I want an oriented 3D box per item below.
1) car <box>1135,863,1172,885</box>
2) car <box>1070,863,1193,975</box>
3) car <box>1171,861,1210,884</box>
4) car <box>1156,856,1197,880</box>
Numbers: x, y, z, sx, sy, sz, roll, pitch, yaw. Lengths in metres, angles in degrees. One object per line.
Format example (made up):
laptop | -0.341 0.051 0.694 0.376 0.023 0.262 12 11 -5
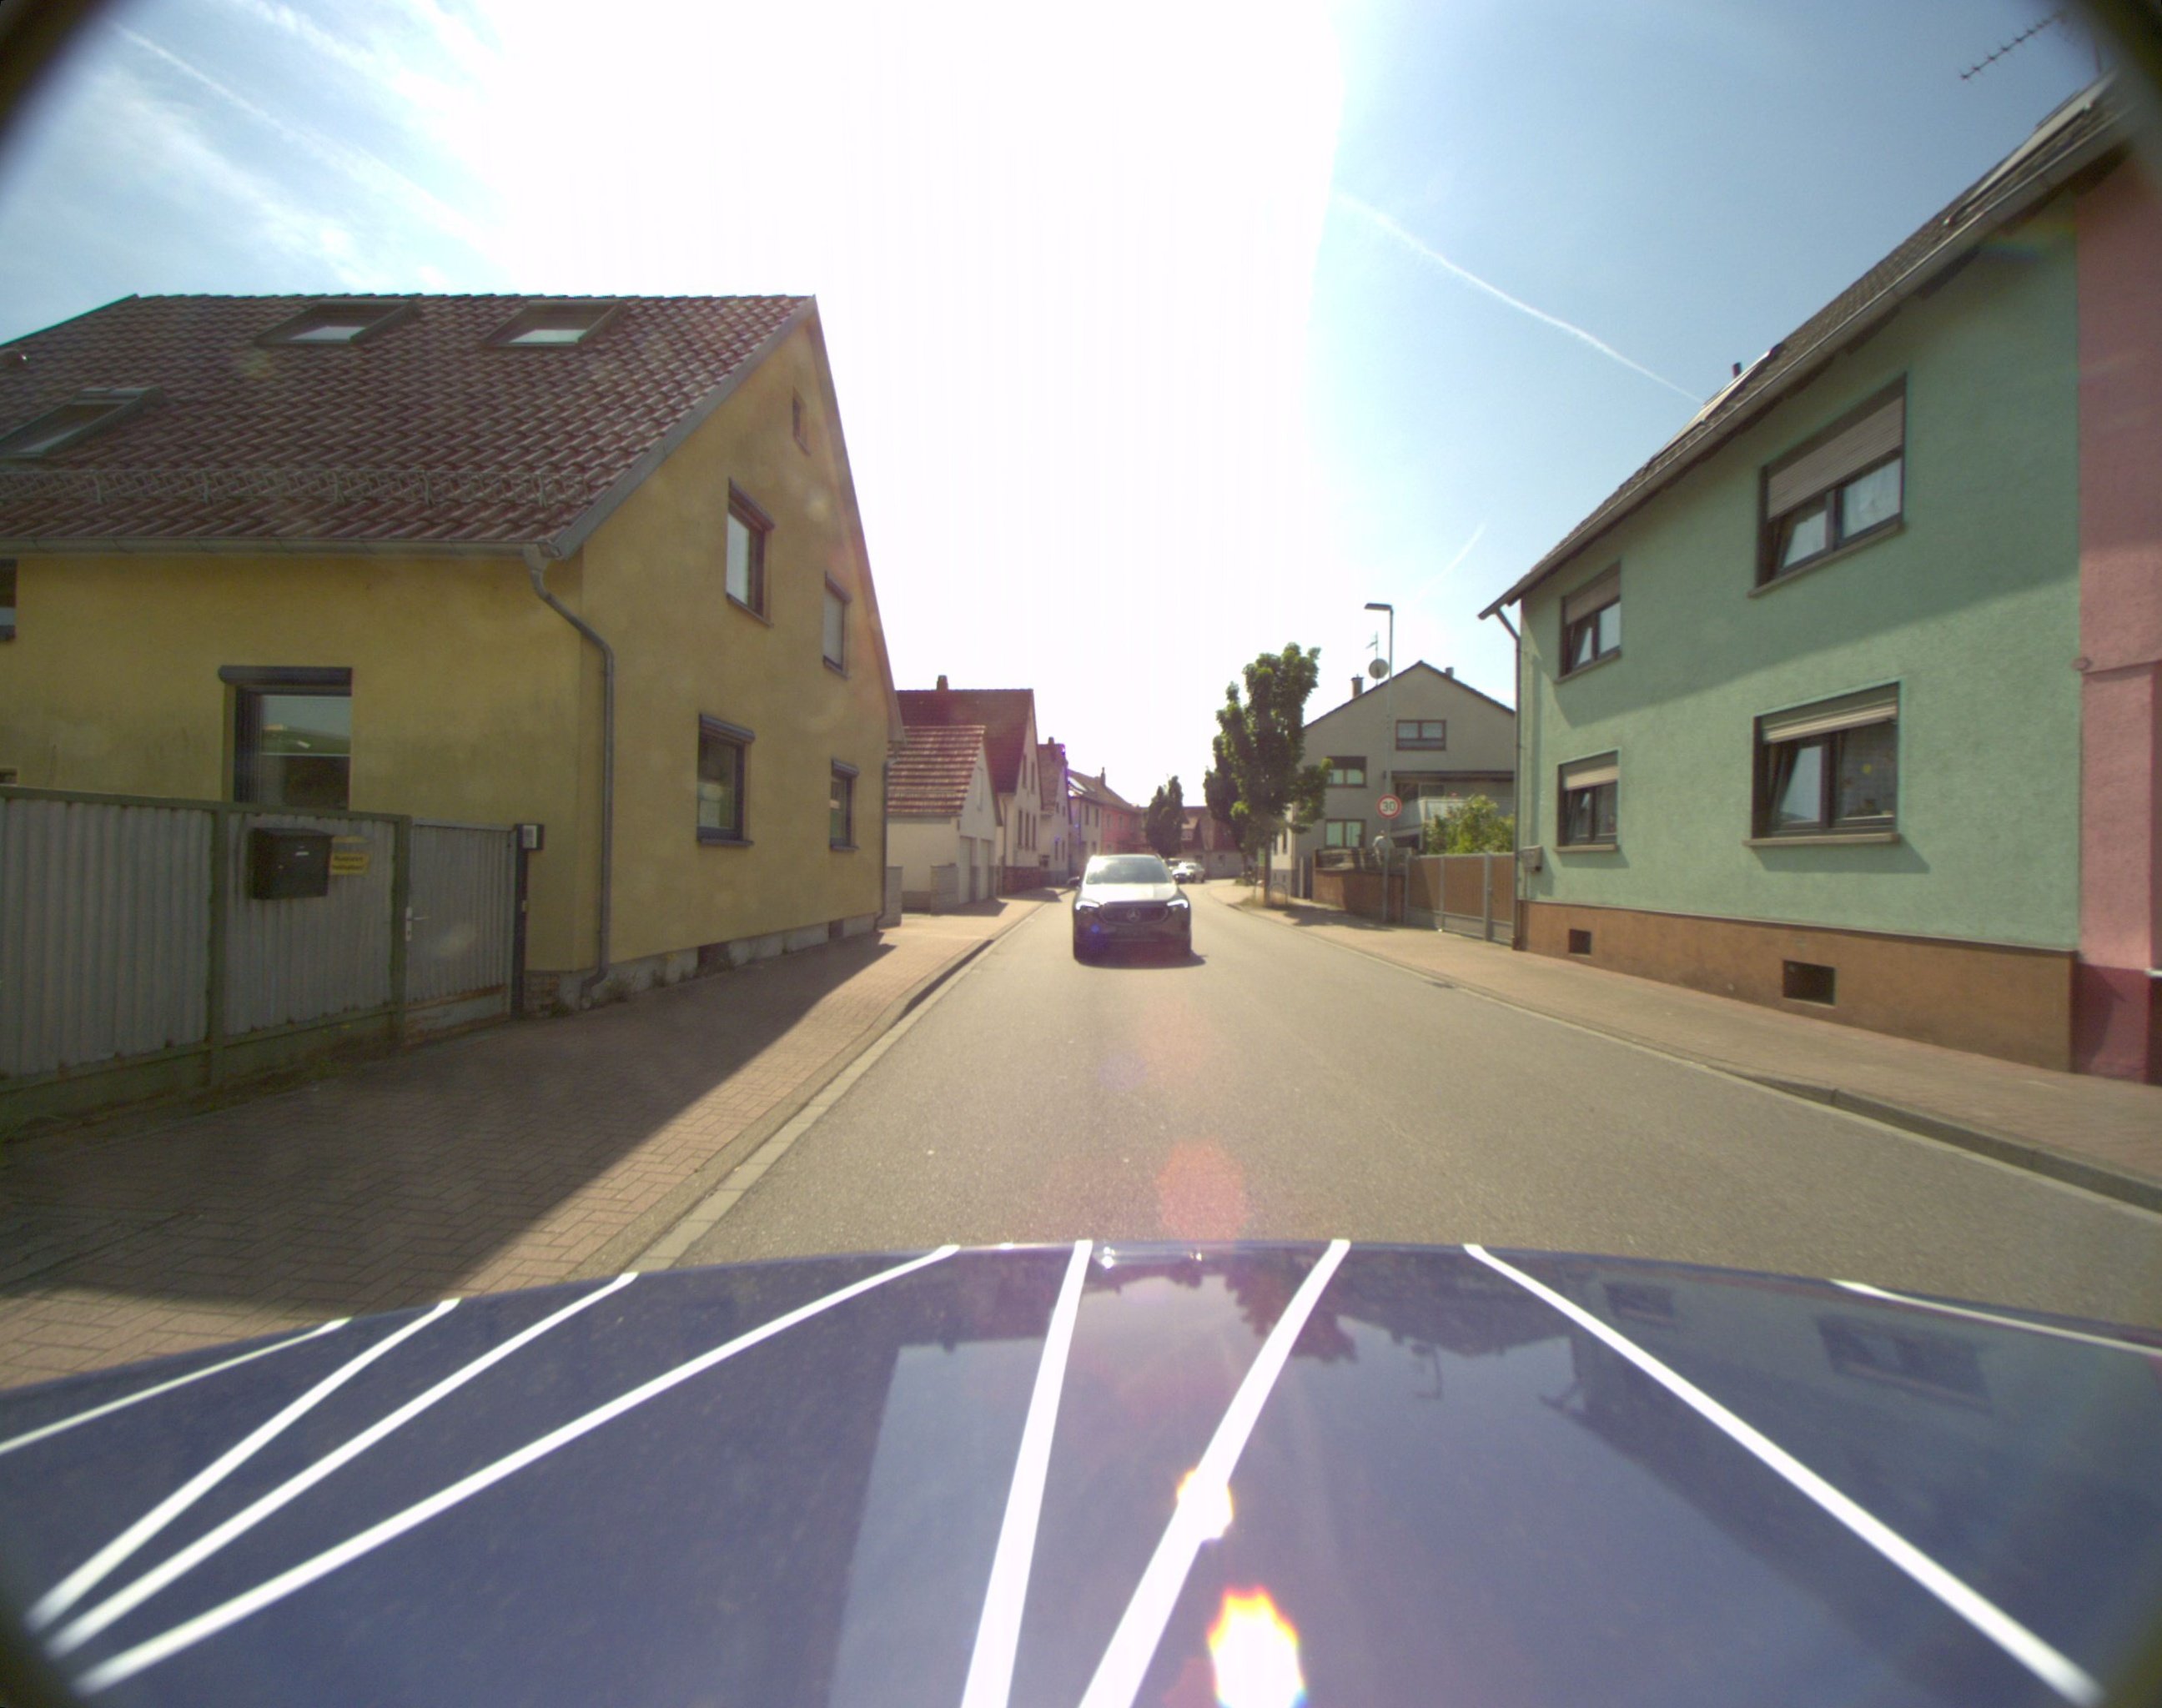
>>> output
car | 5.962 1.633 62.097 1.748 1.617 3.854 -2 1 25
car | 0.758 0.951 12.987 1.737 1.564 4.290 0 0 1
car | 8.741 1.434 60.560 1.803 1.617 4.130 -2 1 27
car | 8.356 1.191 66.224 1.944 1.841 4.517 -2 1 30
